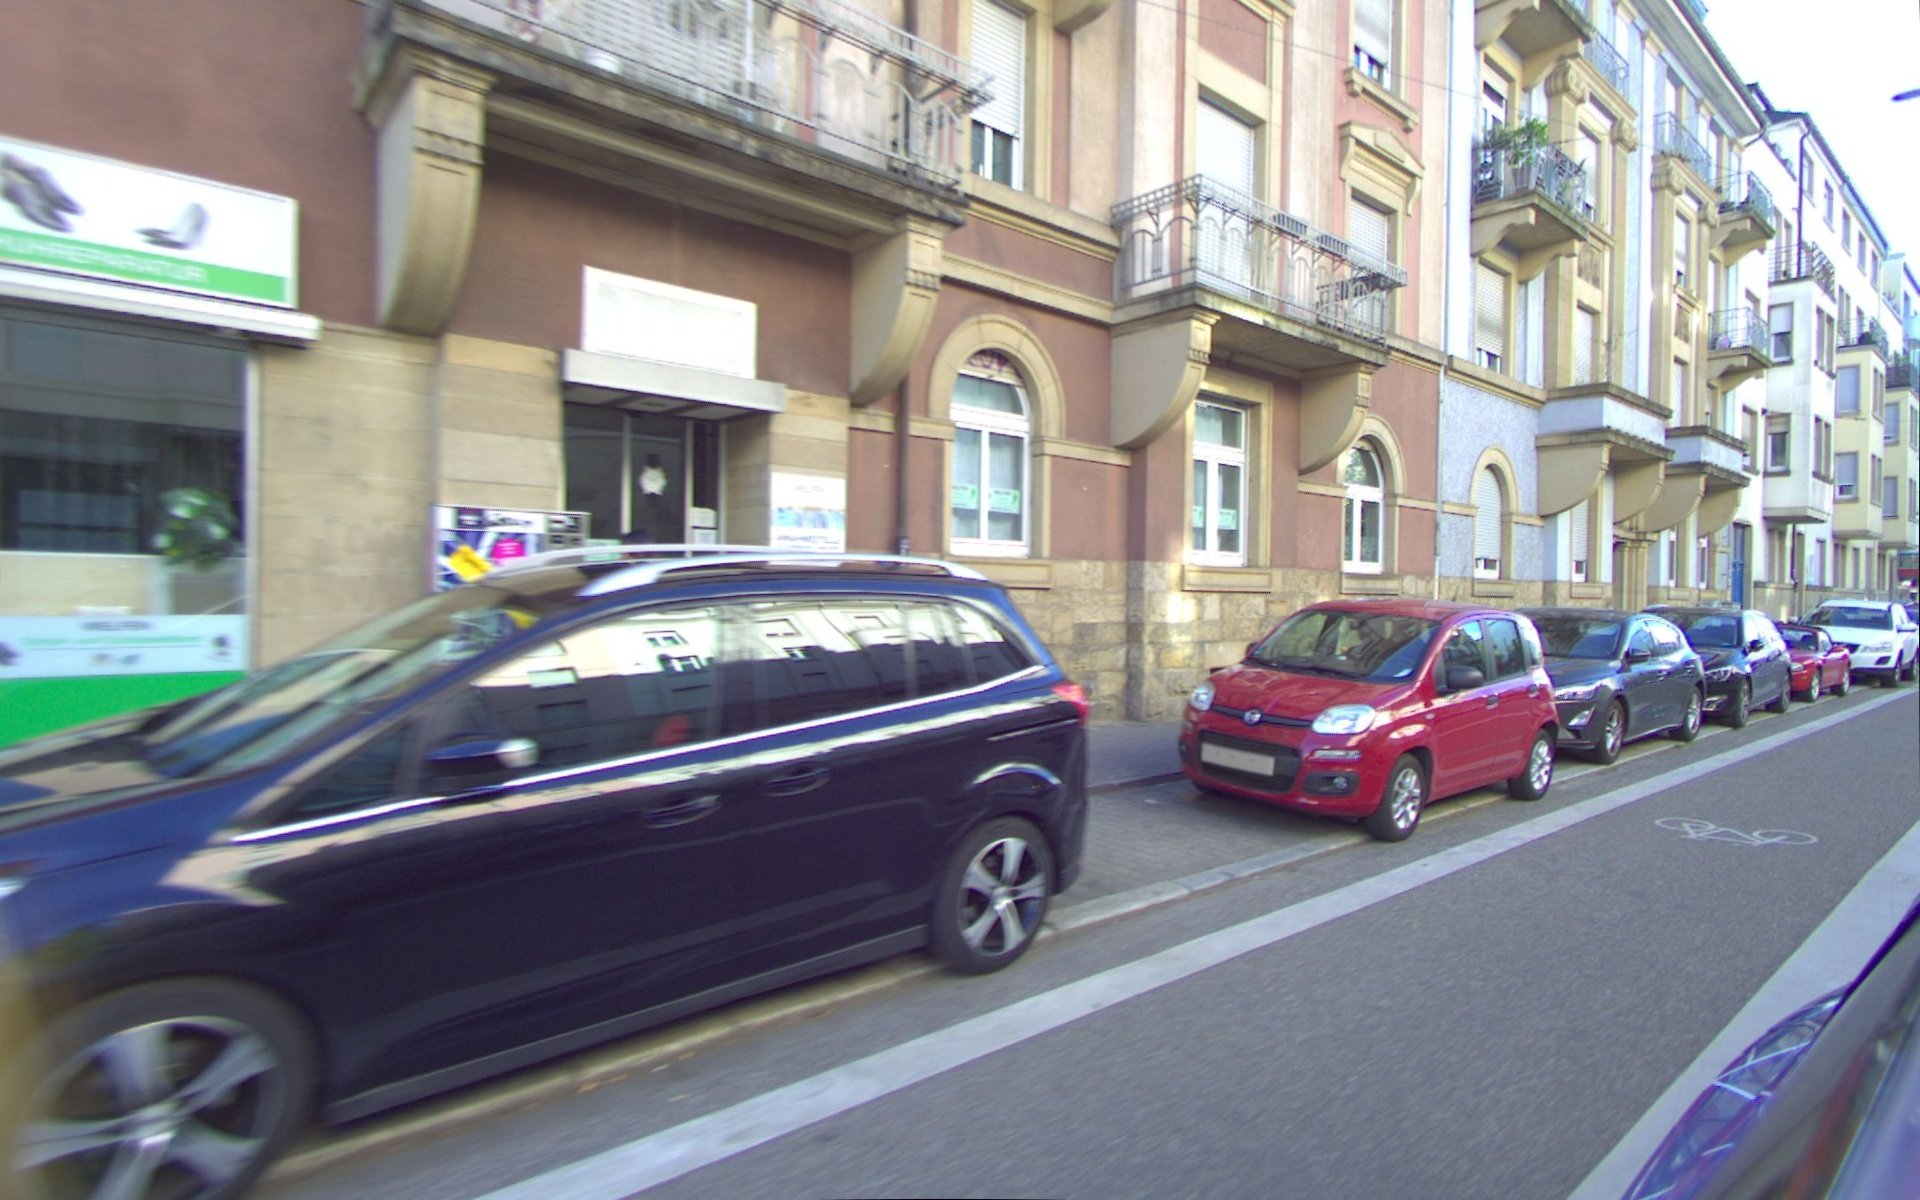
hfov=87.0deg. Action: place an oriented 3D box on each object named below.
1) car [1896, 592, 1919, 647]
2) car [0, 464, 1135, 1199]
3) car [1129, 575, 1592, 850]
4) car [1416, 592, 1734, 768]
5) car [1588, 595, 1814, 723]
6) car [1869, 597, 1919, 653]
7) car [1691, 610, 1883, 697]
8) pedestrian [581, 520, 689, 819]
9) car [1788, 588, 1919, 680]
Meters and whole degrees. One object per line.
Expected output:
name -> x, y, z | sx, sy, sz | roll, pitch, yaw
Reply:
car -> 31.367, 0.595, 32.105 | 4.479, 1.686, 1.863 | 0, 1, -39
car -> -1.525, 0.525, 3.688 | 4.426, 1.756, 1.758 | 0, 4, -40
car -> 3.196, 0.643, 7.802 | 3.662, 1.614, 1.757 | 0, 1, -39
car -> 6.799, 0.695, 10.977 | 4.395, 1.532, 1.657 | 0, 1, -40
car -> 10.469, 0.697, 14.172 | 4.397, 1.502, 1.657 | 0, 1, -42
car -> 27.017, 0.673, 28.517 | 3.964, 1.460, 1.739 | 0, 1, -43
car -> 14.455, 0.837, 17.598 | 4.422, 1.264, 1.659 | 0, 1, -38
pedestrian -> -1.968, 0.392, 6.118 | 0.440, 1.708, 0.514 | 1, 0, -40
car -> 18.994, 0.621, 21.153 | 4.425, 1.712, 1.847 | 0, 1, -40
